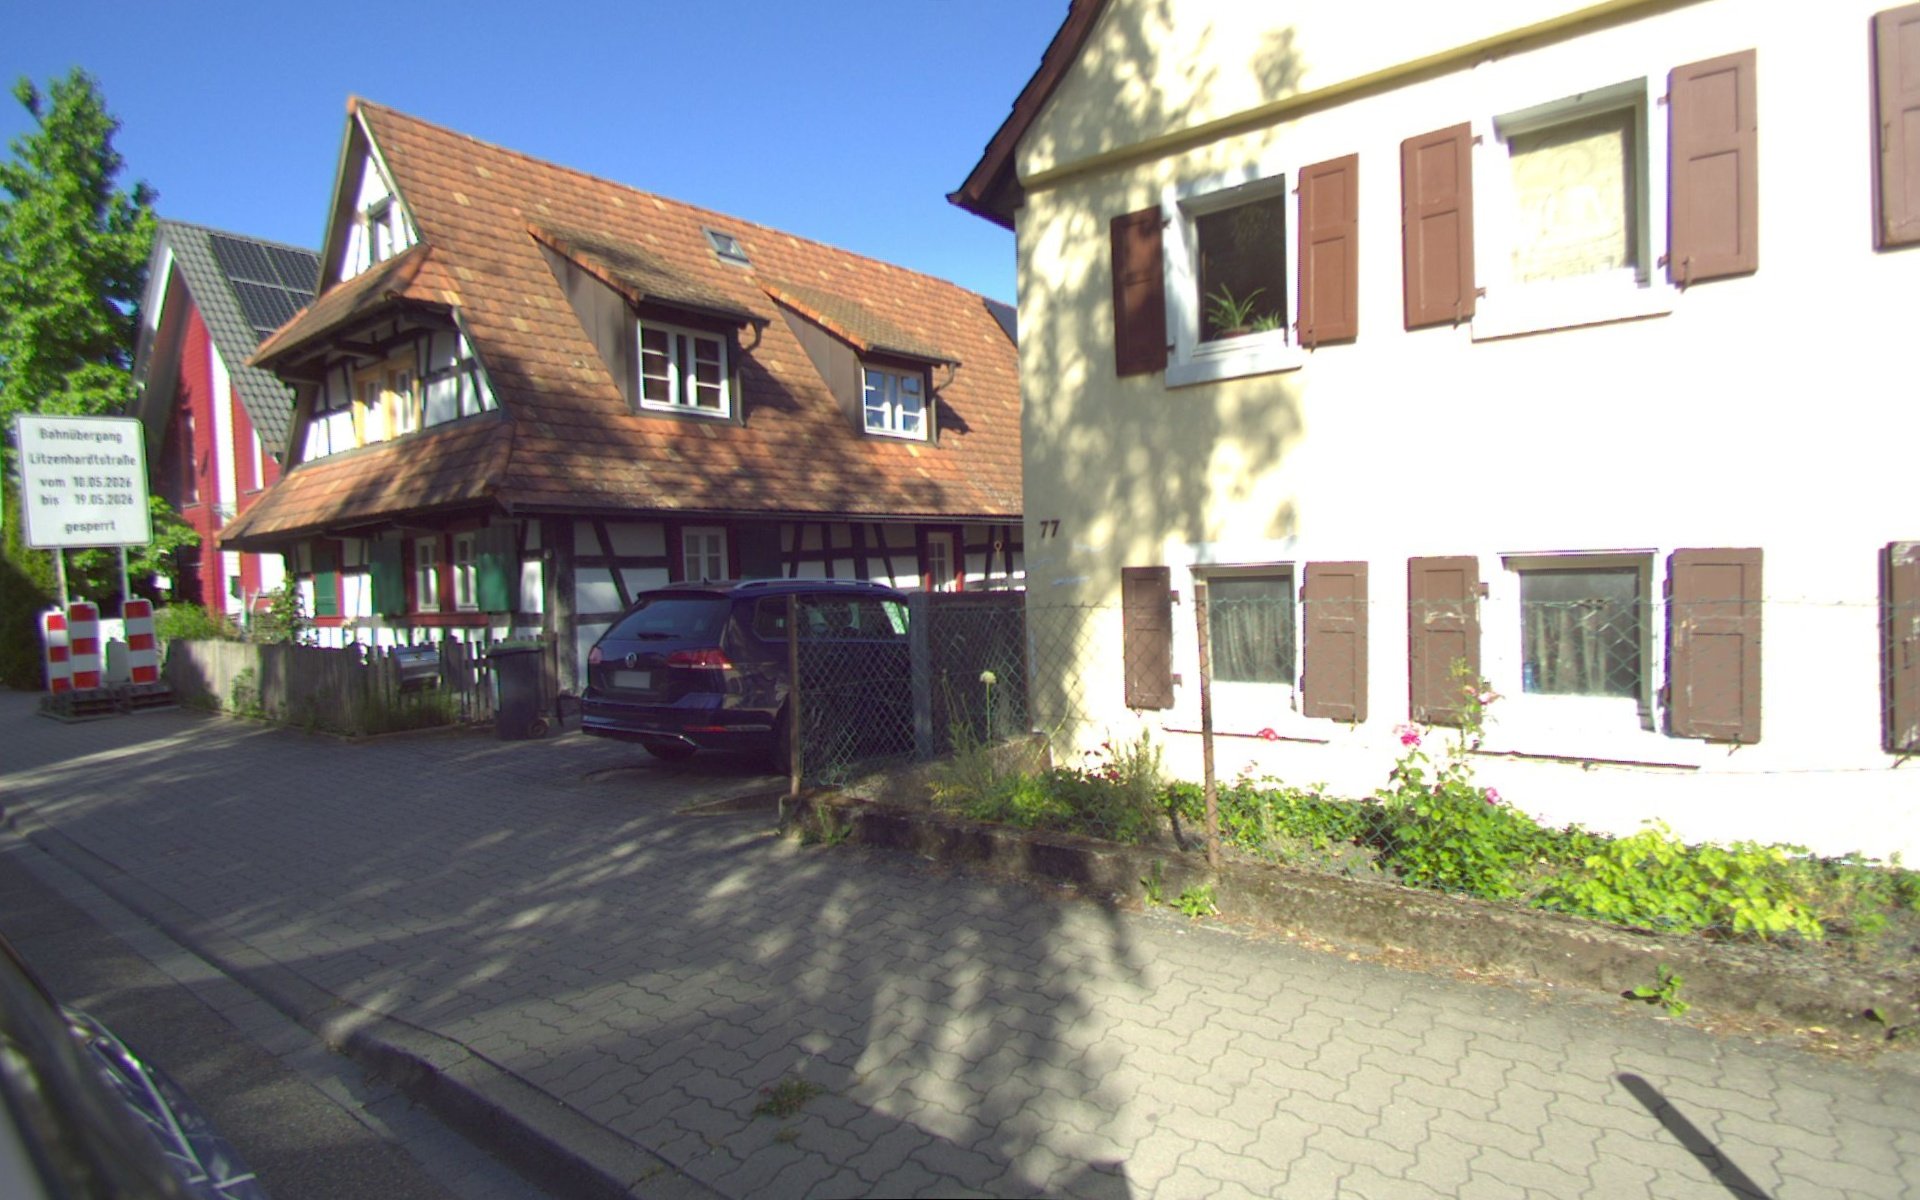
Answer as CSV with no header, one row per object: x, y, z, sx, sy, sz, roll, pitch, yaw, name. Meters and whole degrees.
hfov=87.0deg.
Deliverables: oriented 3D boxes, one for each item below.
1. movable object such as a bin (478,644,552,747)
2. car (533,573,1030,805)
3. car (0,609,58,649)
-4.224,0.884,9.603,0.575,0.904,0.557,0,-1,-31,movable object such as a bin
-1.245,0.575,8.682,1.844,1.473,4.123,-1,-1,34,car
-44.193,1.349,47.487,1.806,1.803,4.366,1,-1,-28,car
